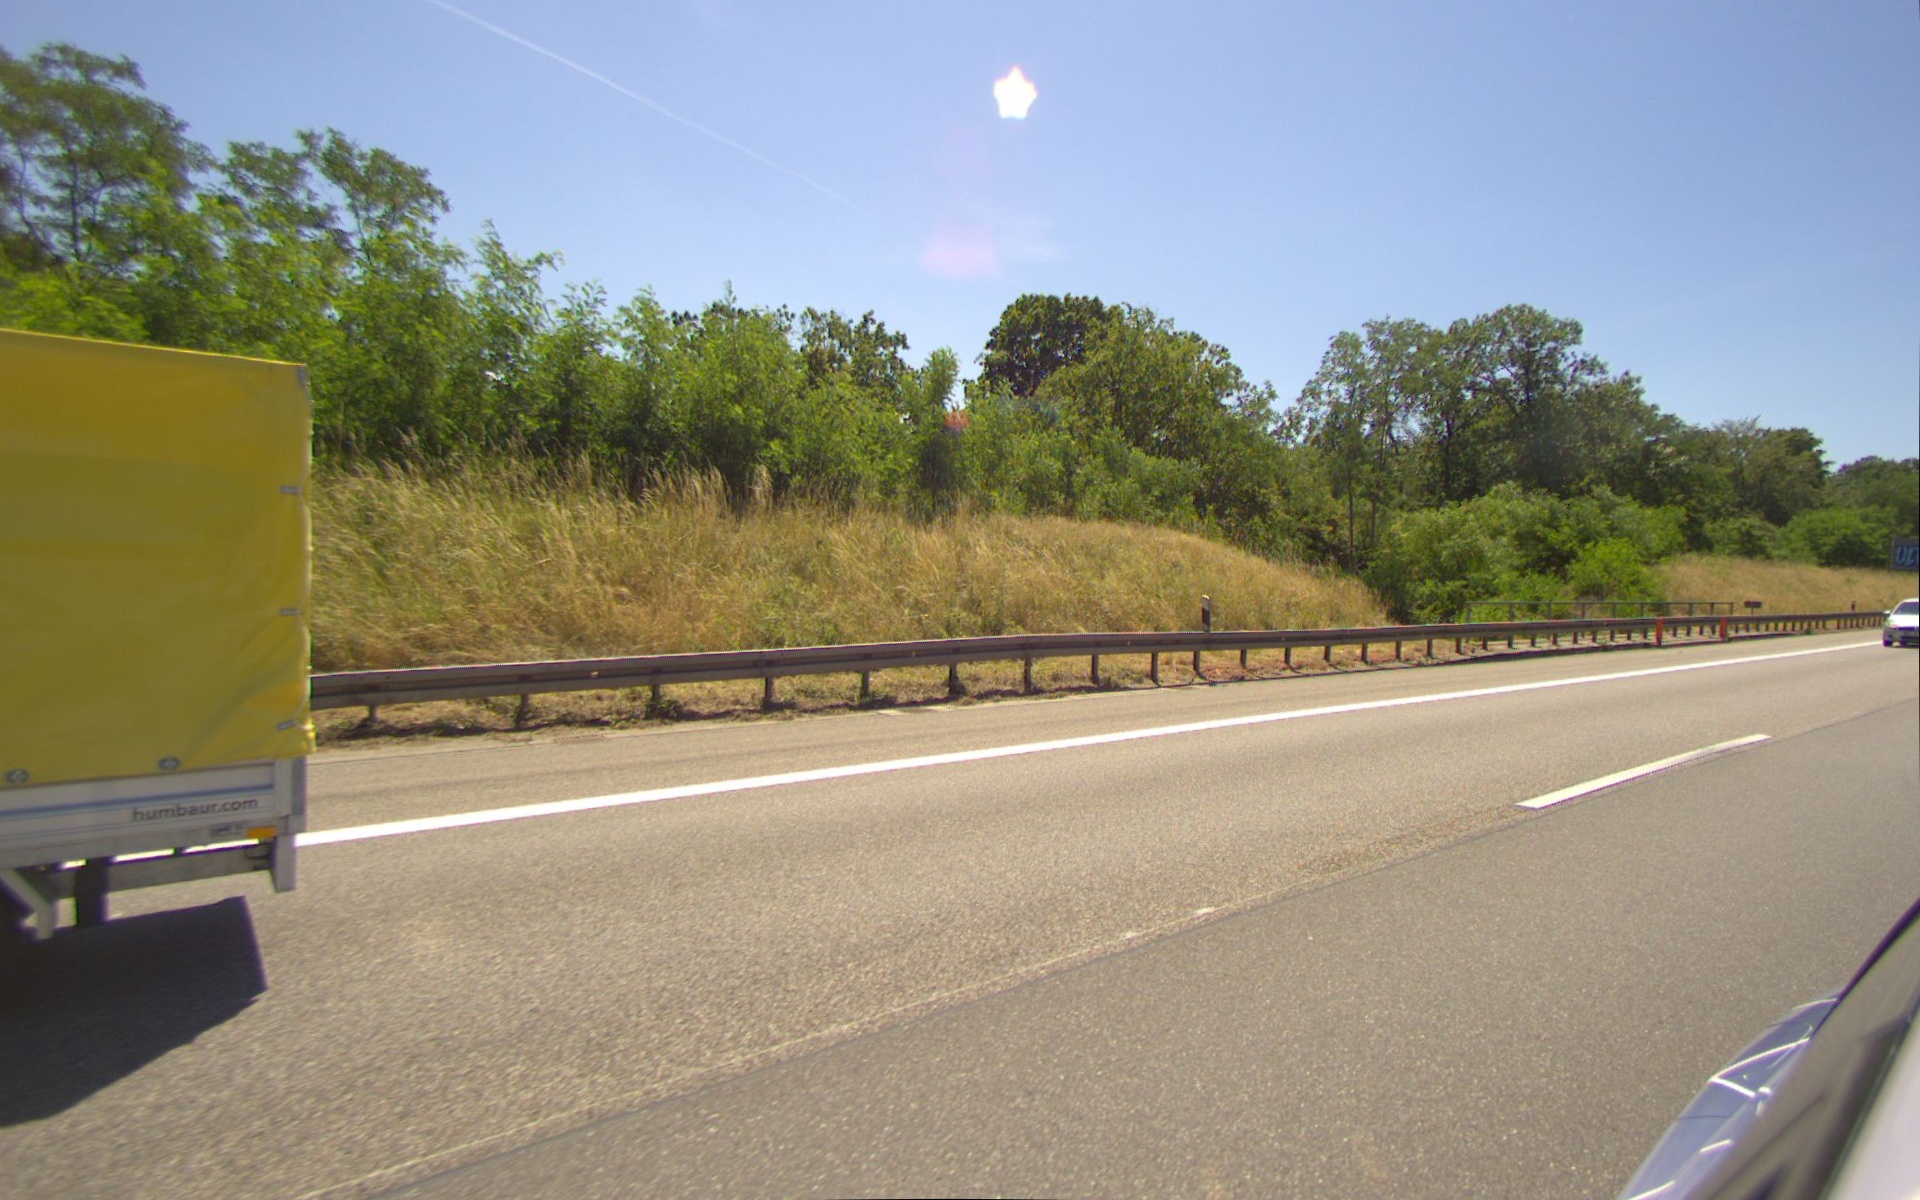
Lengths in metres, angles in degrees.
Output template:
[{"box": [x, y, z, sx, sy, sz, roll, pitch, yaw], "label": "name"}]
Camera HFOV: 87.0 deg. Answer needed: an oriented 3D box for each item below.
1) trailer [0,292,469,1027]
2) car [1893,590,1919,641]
[{"box": [-3.963, 0.176, 3.518, 3.771, 2.318, 1.707, 0, 1, -40], "label": "trailer"}, {"box": [29.831, 0.463, 30.612, 3.907, 1.484, 1.749, 0, 0, -38], "label": "car"}]
